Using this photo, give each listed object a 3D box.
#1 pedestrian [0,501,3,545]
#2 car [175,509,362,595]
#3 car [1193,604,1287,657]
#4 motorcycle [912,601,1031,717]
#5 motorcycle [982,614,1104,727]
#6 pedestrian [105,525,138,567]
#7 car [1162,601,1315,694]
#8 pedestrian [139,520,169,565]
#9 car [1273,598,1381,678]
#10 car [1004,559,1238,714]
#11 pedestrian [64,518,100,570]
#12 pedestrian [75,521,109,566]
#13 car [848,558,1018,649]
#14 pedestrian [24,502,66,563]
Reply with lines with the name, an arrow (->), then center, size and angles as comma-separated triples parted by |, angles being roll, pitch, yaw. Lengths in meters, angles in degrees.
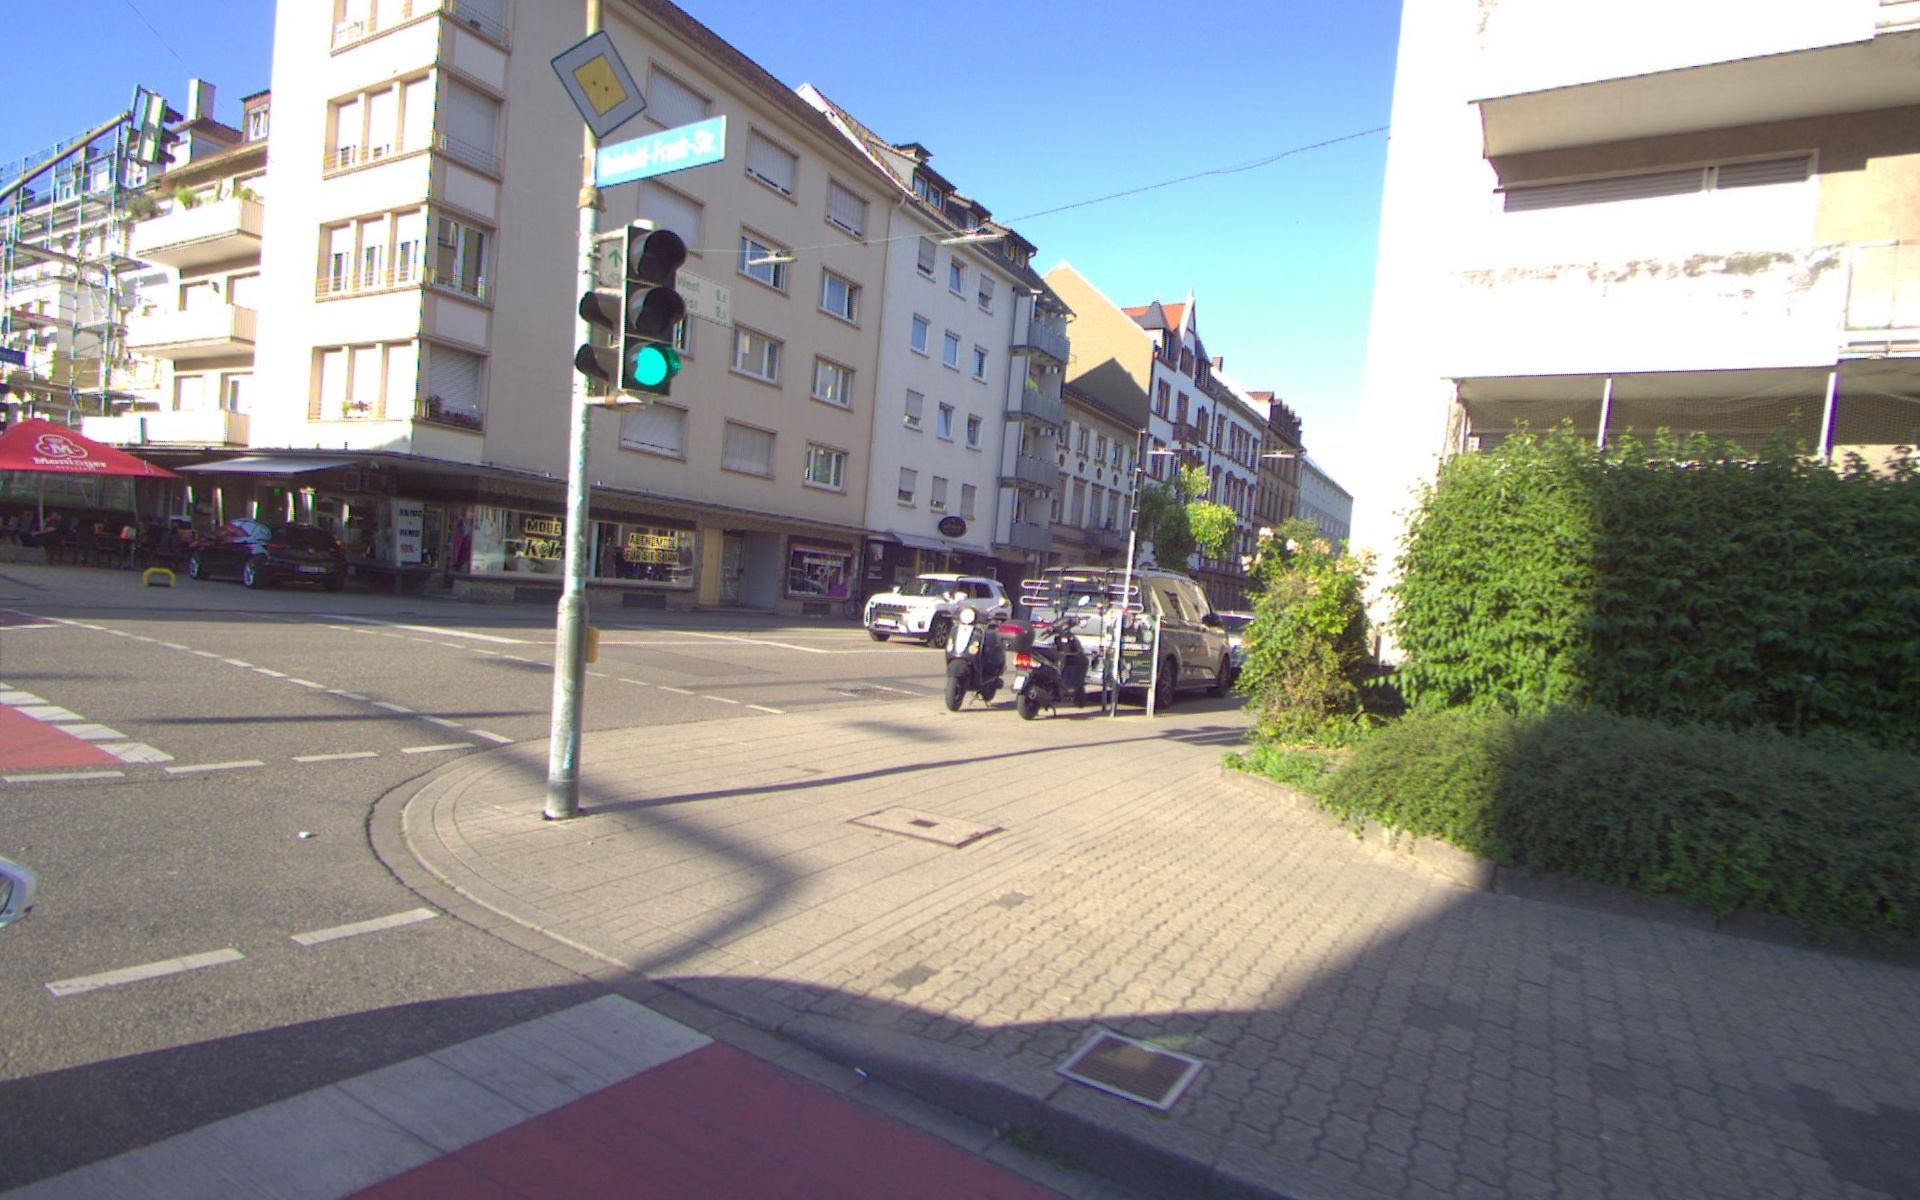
pedestrian -> -21.717, -1.663, 22.372 | 0.517, 1.165, 0.486 | 6, 1, 35
car -> -15.283, -1.066, 22.193 | 4.134, 1.503, 1.829 | 6, 1, 32
car -> 10.400, 1.159, 37.167 | 1.922, 1.682, 4.340 | 6, 1, 34
motorcycle -> 0.184, 0.685, 12.114 | 0.760, 1.216, 1.991 | 5, 0, 19
motorcycle -> 0.971, 0.779, 11.349 | 0.585, 1.126, 1.695 | 6, 1, 32
pedestrian -> -21.501, -1.391, 25.795 | 0.407, 1.003, 0.523 | 6, 1, 37
car -> 5.810, 0.935, 20.562 | 1.920, 1.561, 4.612 | 4, 0, 29
pedestrian -> -22.572, -1.606, 28.176 | 0.407, 1.204, 0.523 | 4, 0, 37
car -> 10.627, 1.089, 28.906 | 1.920, 1.931, 5.065 | 6, 1, 30
car -> 2.653, 0.540, 15.385 | 1.920, 1.890, 4.834 | 4, 0, 29
pedestrian -> -20.951, -1.331, 24.019 | 0.407, 1.165, 0.523 | 6, 1, 37
pedestrian -> -21.869, -1.429, 25.337 | 0.407, 1.062, 0.523 | 6, 1, 37
car -> -0.533, 0.137, 24.085 | 1.920, 1.862, 4.343 | 6, 1, 31
pedestrian -> -20.621, -1.525, 22.679 | 0.531, 1.299, 0.524 | 6, 1, 33
